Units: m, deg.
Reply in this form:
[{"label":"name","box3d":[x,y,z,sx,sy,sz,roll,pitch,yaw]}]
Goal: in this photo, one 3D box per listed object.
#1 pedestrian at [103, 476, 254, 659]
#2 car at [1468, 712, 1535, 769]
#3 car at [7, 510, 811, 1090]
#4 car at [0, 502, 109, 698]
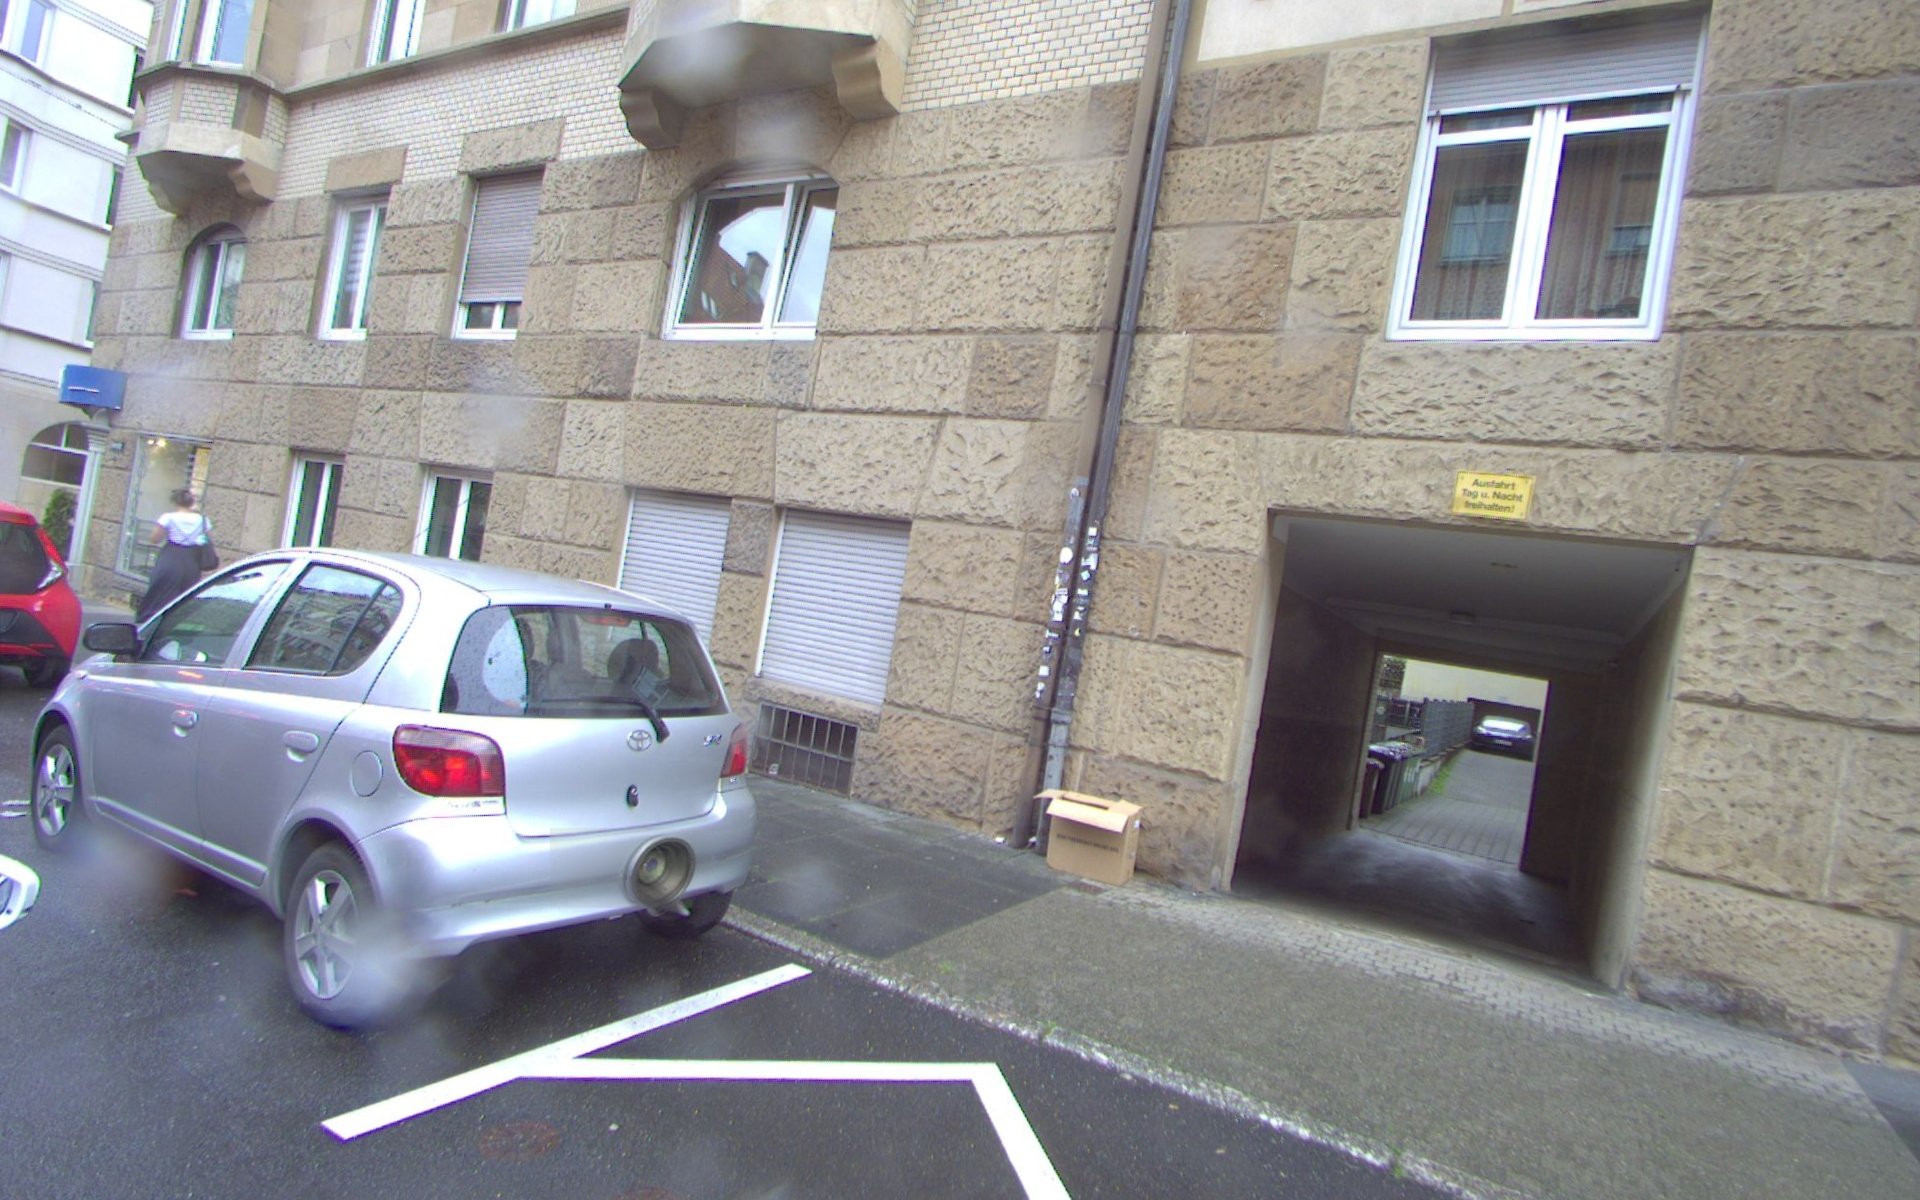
[{"label":"pedestrian","box3d":[-8.203,-0.339,10.564,1.093,1.768,0.743,6,-1,32]},{"label":"car","box3d":[18.328,4.710,33.943,1.693,1.538,4.102,7,-3,31]},{"label":"car","box3d":[-2.492,0.553,4.399,3.258,1.485,1.616,7,-1,33]},{"label":"car","box3d":[-8.741,-0.194,8.176,3.243,1.464,1.646,7,-2,29]}]
